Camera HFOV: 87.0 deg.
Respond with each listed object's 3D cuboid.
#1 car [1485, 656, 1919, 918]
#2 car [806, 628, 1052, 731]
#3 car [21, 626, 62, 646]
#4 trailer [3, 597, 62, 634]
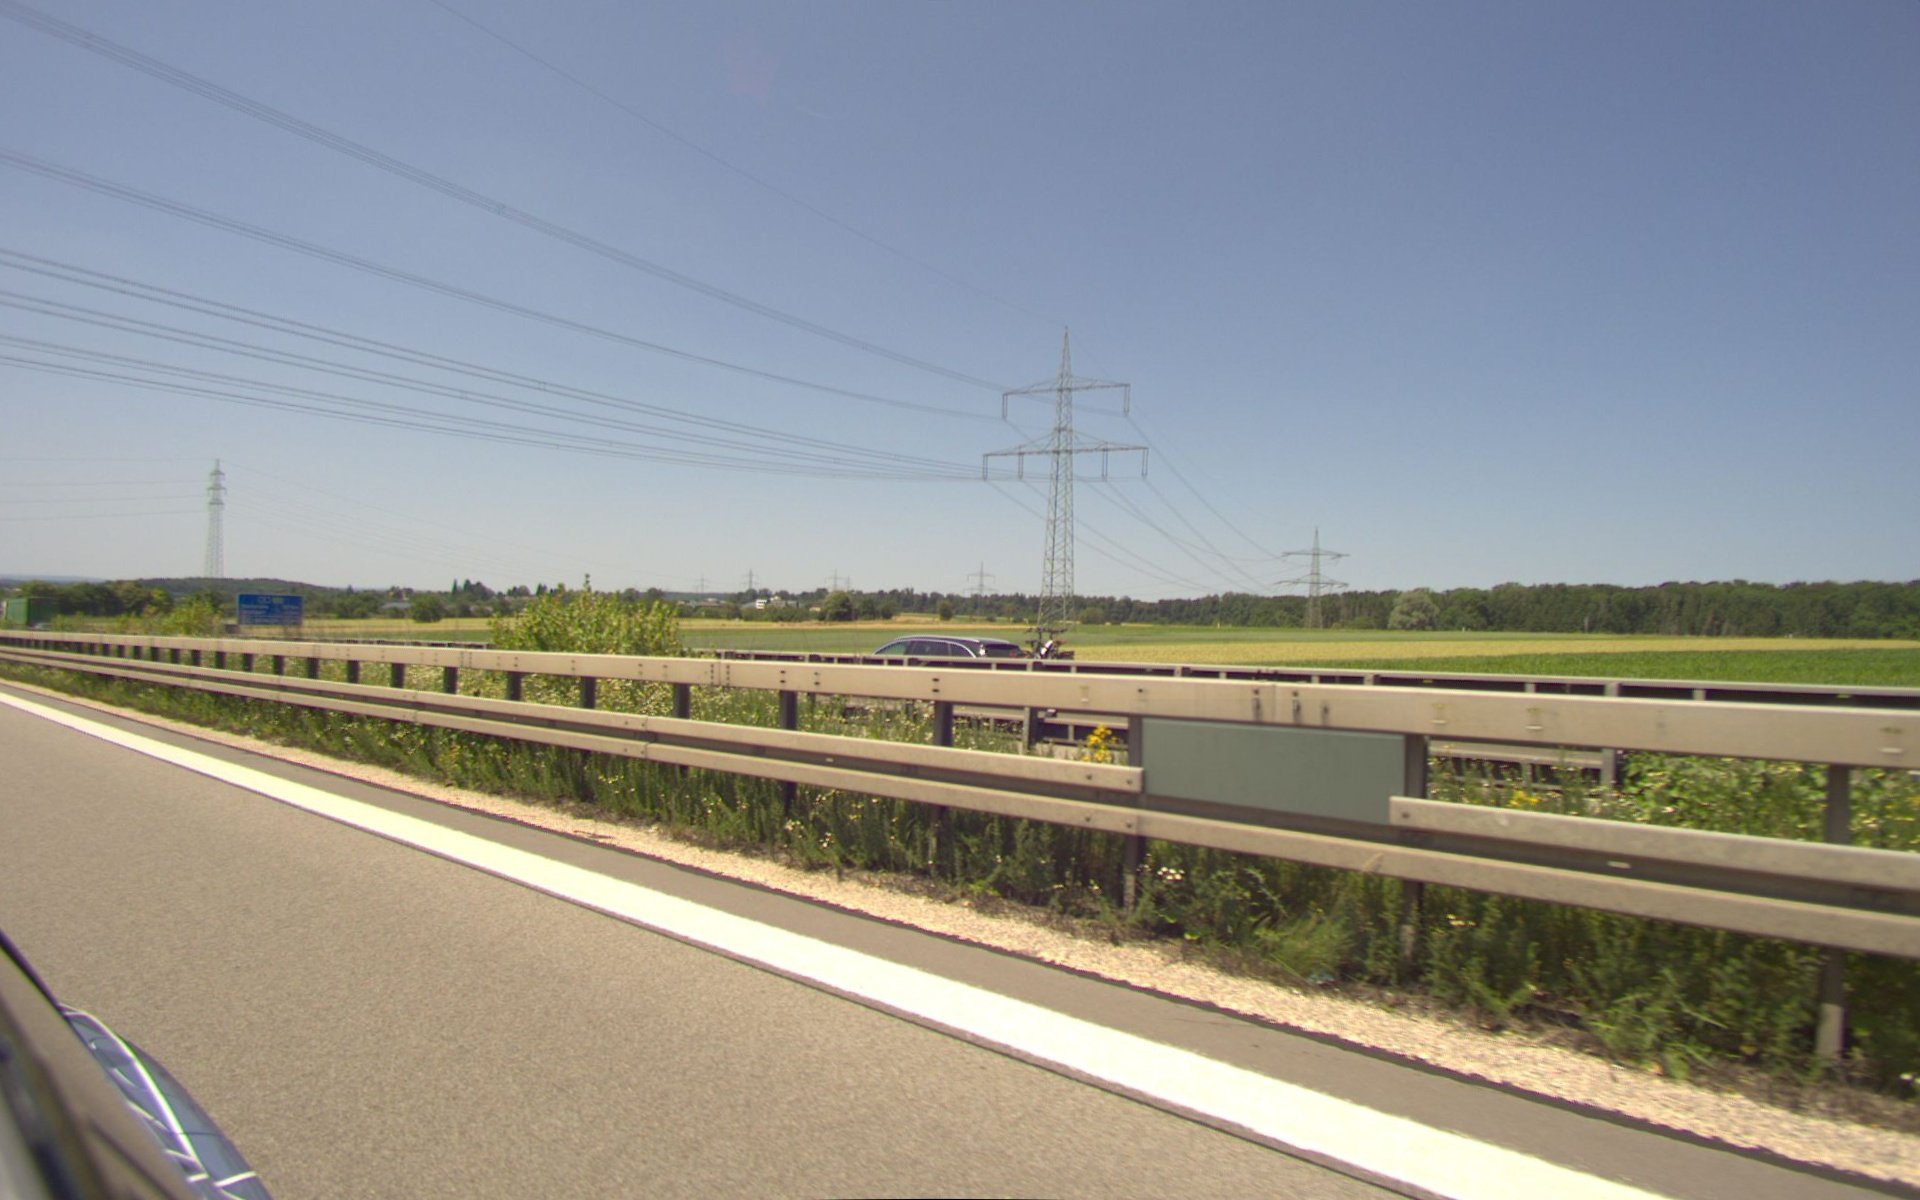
[{"bbox_3d":[6.123,1.291,7.724,3.483,1.541,1.620,0,0,41],"label":"car"},{"bbox_3d":[-0.638,1.328,18.342,4.283,1.555,1.928,0,0,40],"label":"car"},{"bbox_3d":[-70.204,2.740,77.332,3.996,1.444,1.706,-1,-4,39],"label":"car"},{"bbox_3d":[-96.029,1.575,104.693,12.524,3.621,2.726,0,0,39],"label":"trailer"}]
